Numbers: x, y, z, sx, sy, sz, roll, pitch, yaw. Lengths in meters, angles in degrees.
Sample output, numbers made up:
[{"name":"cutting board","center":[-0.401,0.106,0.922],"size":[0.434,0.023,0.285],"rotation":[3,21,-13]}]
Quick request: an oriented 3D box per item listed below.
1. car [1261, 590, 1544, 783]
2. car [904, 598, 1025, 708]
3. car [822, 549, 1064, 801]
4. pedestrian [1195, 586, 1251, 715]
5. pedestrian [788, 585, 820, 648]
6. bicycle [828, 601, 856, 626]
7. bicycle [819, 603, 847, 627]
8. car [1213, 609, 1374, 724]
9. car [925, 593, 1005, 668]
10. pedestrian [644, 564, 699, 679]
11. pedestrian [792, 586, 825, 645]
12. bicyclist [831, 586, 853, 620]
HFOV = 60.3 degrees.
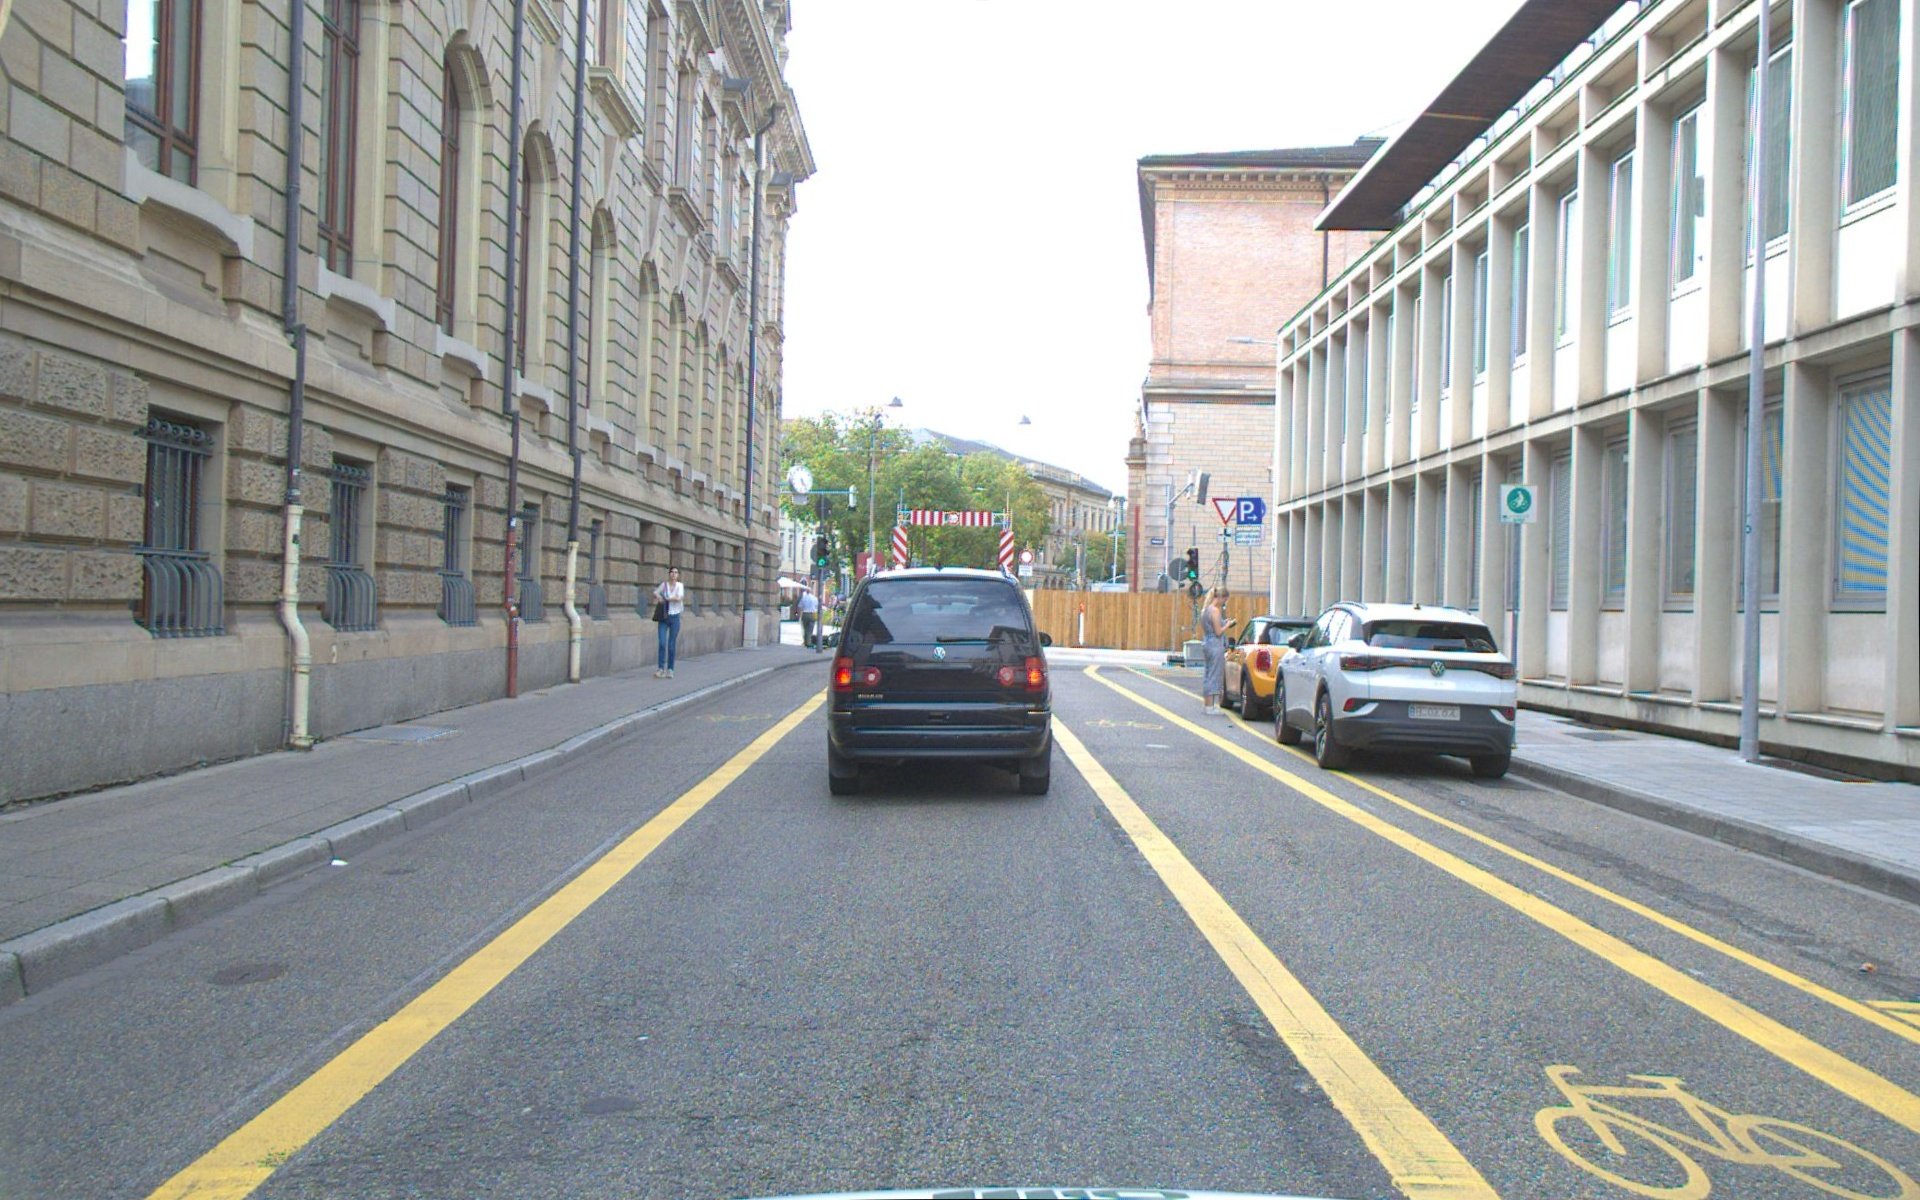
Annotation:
[{"name":"car","center":[4.482,0.816,17.476],"size":[1.822,1.633,4.513],"rotation":[4,0,2]},{"name":"car","center":[0.126,0.756,25.109],"size":[1.643,1.495,4.104],"rotation":[2,0,2]},{"name":"car","center":[-0.050,0.559,14.007],"size":[1.752,1.821,4.104],"rotation":[0,-1,2]},{"name":"pedestrian","center":[3.737,0.705,23.529],"size":[0.683,1.794,0.706],"rotation":[1,-1,1]},{"name":"pedestrian","center":[-4.720,0.505,50.131],"size":[0.776,1.851,1.048],"rotation":[3,-1,-1]},{"name":"bicycle","center":[-4.975,0.578,69.496],"size":[0.723,1.026,2.058],"rotation":[1,-1,-18]},{"name":"bicycle","center":[-5.625,0.669,73.144],"size":[0.724,1.026,2.057],"rotation":[1,-1,-19]},{"name":"car","center":[4.767,0.906,24.117],"size":[1.645,1.460,3.887],"rotation":[3,0,2]},{"name":"car","center":[0.086,0.681,38.215],"size":[1.737,1.613,3.999],"rotation":[1,-1,-1]},{"name":"pedestrian","center":[-4.841,0.361,27.802],"size":[0.650,1.851,1.048],"rotation":[3,-1,-1]},{"name":"pedestrian","center":[-4.880,0.490,53.250],"size":[0.780,1.851,1.042],"rotation":[3,-1,-18]},{"name":"bicyclist","center":[-4.977,0.116,69.538],"size":[0.723,1.401,0.824],"rotation":[1,-1,-18]}]
